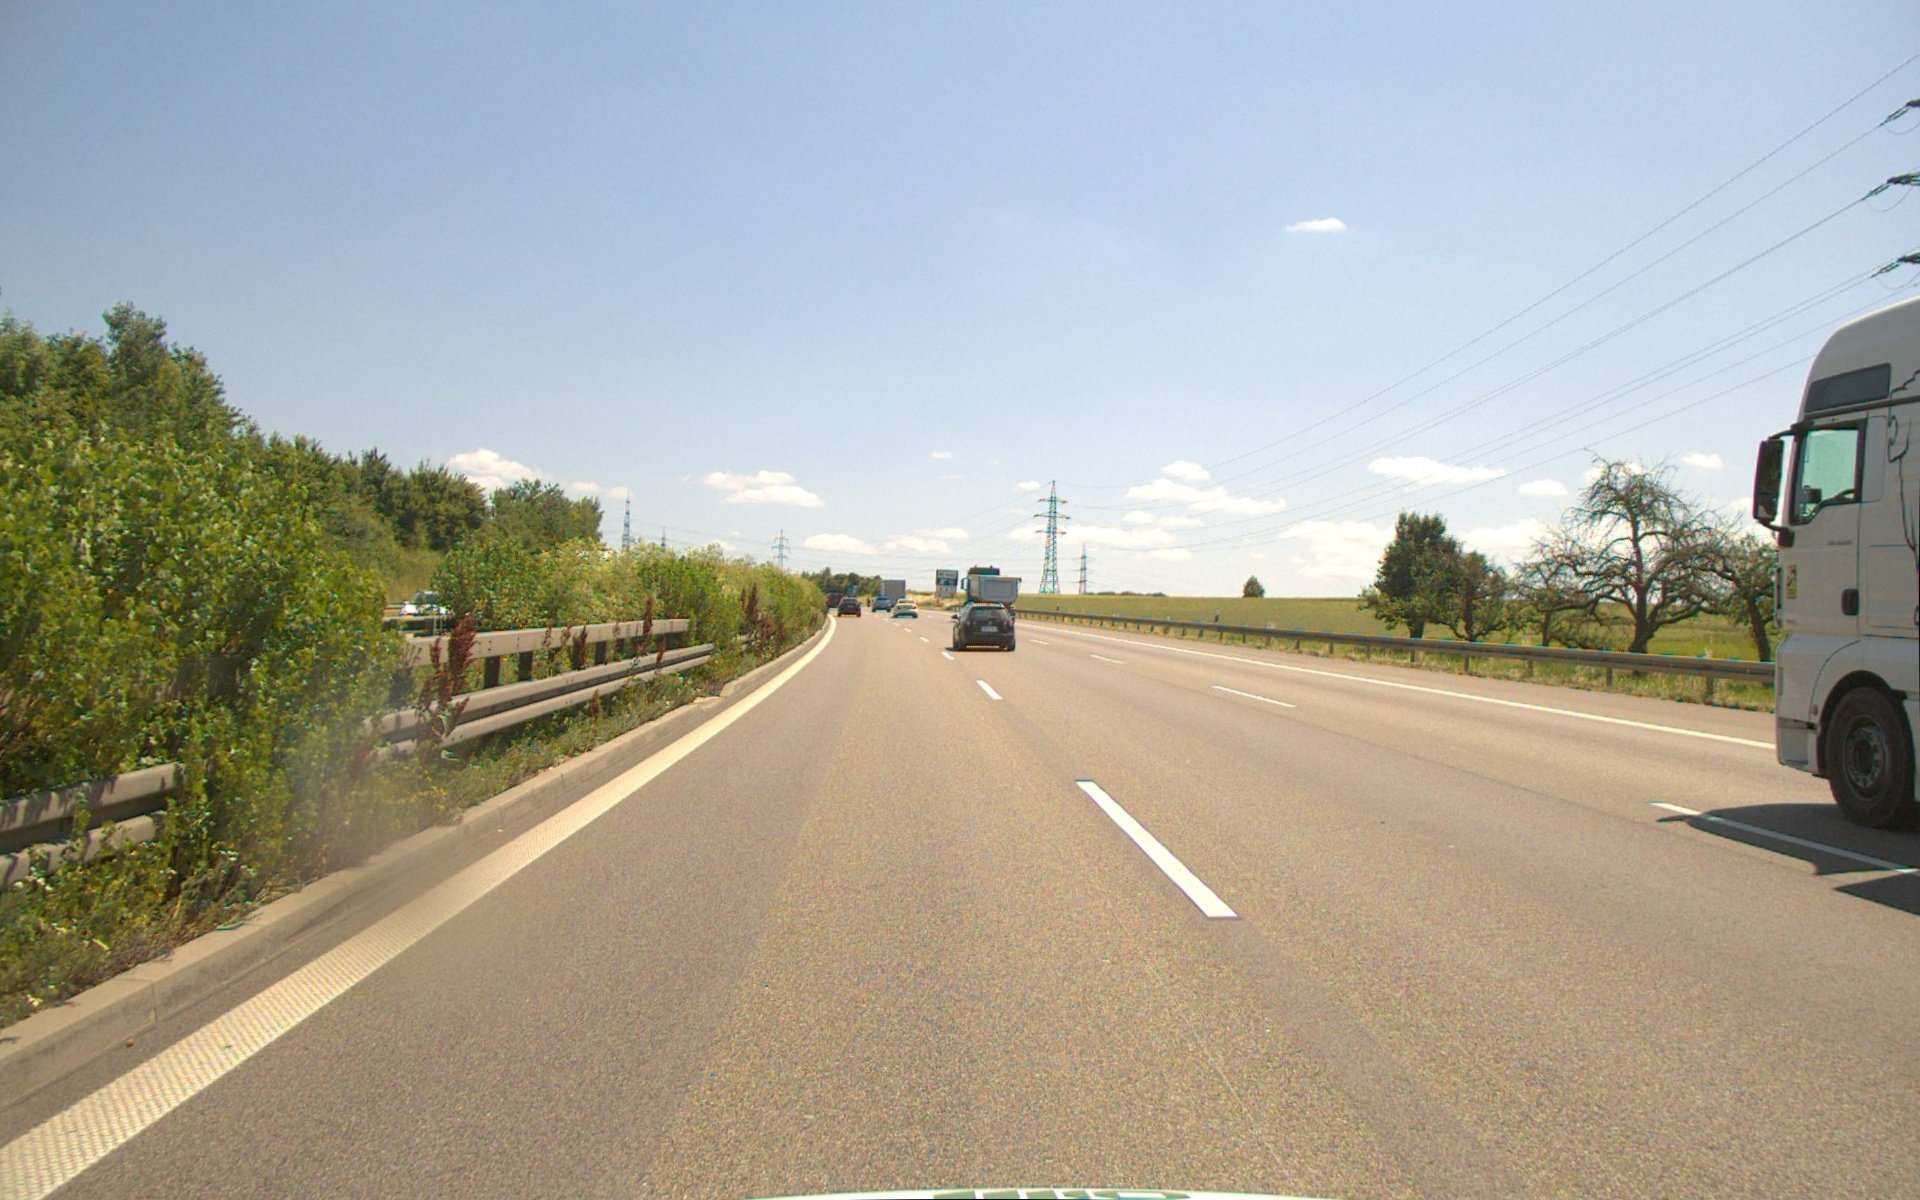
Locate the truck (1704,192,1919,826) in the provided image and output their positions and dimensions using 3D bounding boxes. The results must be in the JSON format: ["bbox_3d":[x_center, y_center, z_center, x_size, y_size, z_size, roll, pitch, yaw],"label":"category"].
[{"bbox_3d":[7.643,-0.595,10.874,2.509,4.226,6.246,1,0,-2],"label":"truck"}]

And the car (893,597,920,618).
[{"bbox_3d":[-4.119,0.595,127.104,1.784,1.568,3.910,1,0,-5],"label":"car"}]

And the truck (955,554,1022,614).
[{"bbox_3d":[1.784,-1.004,111.239,2.811,3.789,12.743,1,0,-7],"label":"truck"}]

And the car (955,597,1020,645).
[{"bbox_3d":[0.823,0.644,52.437,1.722,1.454,3.997,1,0,-4],"label":"car"}]

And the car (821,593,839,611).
[{"bbox_3d":[-14.080,0.216,178.832,1.865,1.959,3.995,1,0,-5],"label":"car"}]

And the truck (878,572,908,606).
[{"bbox_3d":[-8.301,-1.283,204.308,3.158,3.993,9.050,1,-1,-5],"label":"truck"}]

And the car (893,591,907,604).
[{"bbox_3d":[-9.139,-0.325,249.991,1.954,1.885,3.997,1,0,-4],"label":"car"}]

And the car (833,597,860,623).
[{"bbox_3d":[-8.817,0.765,128.055,1.955,1.892,3.996,1,0,-5],"label":"car"}]

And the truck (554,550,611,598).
[{"bbox_3d":[-23.108,-1.558,101.344,2.635,2.796,4.642,1,0,-4],"label":"truck"}]

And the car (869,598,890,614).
[{"bbox_3d":[-8.082,0.607,166.002,1.804,1.568,3.908,1,0,-7],"label":"car"}]
